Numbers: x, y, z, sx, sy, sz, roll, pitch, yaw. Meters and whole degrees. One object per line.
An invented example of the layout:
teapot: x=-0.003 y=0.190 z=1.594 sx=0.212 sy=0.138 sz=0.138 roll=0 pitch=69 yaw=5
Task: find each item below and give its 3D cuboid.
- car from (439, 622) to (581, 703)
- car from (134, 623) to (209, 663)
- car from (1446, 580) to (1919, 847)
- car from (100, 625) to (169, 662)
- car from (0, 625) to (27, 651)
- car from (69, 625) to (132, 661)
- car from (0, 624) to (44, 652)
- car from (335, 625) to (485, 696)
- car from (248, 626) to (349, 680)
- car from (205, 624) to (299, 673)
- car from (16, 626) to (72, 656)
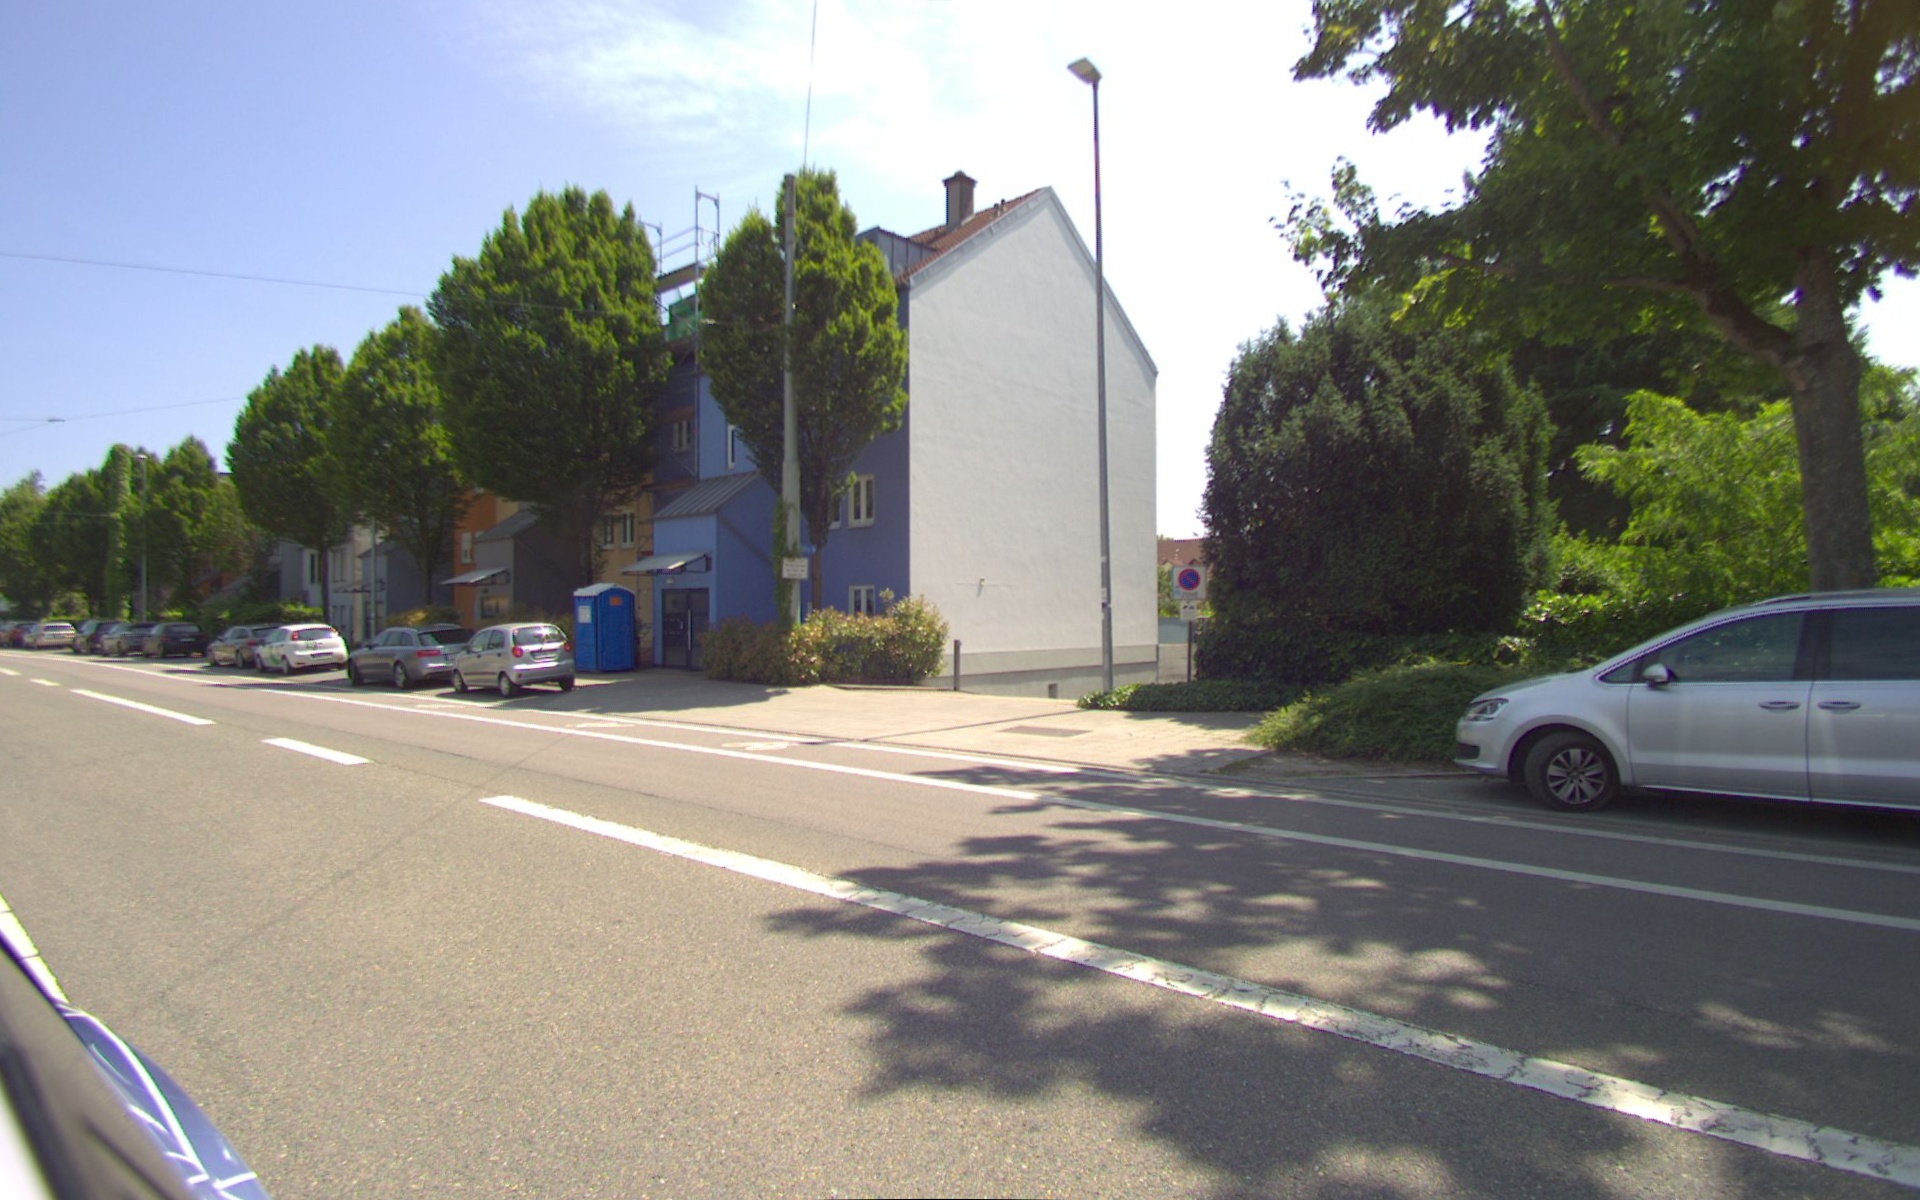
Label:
car: x=-9.821 y=1.303 z=22.015 sx=3.279 sy=1.507 sz=1.487 roll=-1 pitch=2 yaw=40
car: x=-33.642 y=1.811 z=43.154 sx=4.079 sy=1.507 sz=1.635 roll=-1 pitch=2 yaw=40
car: x=6.403 y=0.724 z=7.491 sx=4.687 sy=1.701 sz=1.949 roll=-1 pitch=-1 yaw=43
car: x=-37.456 y=1.932 z=45.908 sx=4.079 sy=1.507 sz=1.635 roll=-1 pitch=2 yaw=40
car: x=-59.789 y=2.391 z=63.133 sx=3.467 sy=1.507 sz=1.842 roll=-1 pitch=2 yaw=40
car: x=-42.269 y=2.085 z=49.764 sx=4.079 sy=1.599 sz=1.635 roll=-1 pitch=2 yaw=40
car: x=-56.050 y=2.248 z=60.165 sx=3.467 sy=1.507 sz=1.842 roll=-1 pitch=2 yaw=40
car: x=-13.799 y=1.435 z=25.257 sx=4.635 sy=1.507 sz=1.659 roll=-1 pitch=2 yaw=40
car: x=-20.983 y=1.634 z=32.078 sx=3.646 sy=1.507 sz=1.635 roll=-1 pitch=2 yaw=40
car: x=-24.889 y=1.658 z=35.546 sx=4.079 sy=1.507 sz=1.635 roll=-1 pitch=2 yaw=40
car: x=-51.333 y=2.265 z=56.702 sx=4.079 sy=1.507 sz=1.702 roll=-1 pitch=2 yaw=40
